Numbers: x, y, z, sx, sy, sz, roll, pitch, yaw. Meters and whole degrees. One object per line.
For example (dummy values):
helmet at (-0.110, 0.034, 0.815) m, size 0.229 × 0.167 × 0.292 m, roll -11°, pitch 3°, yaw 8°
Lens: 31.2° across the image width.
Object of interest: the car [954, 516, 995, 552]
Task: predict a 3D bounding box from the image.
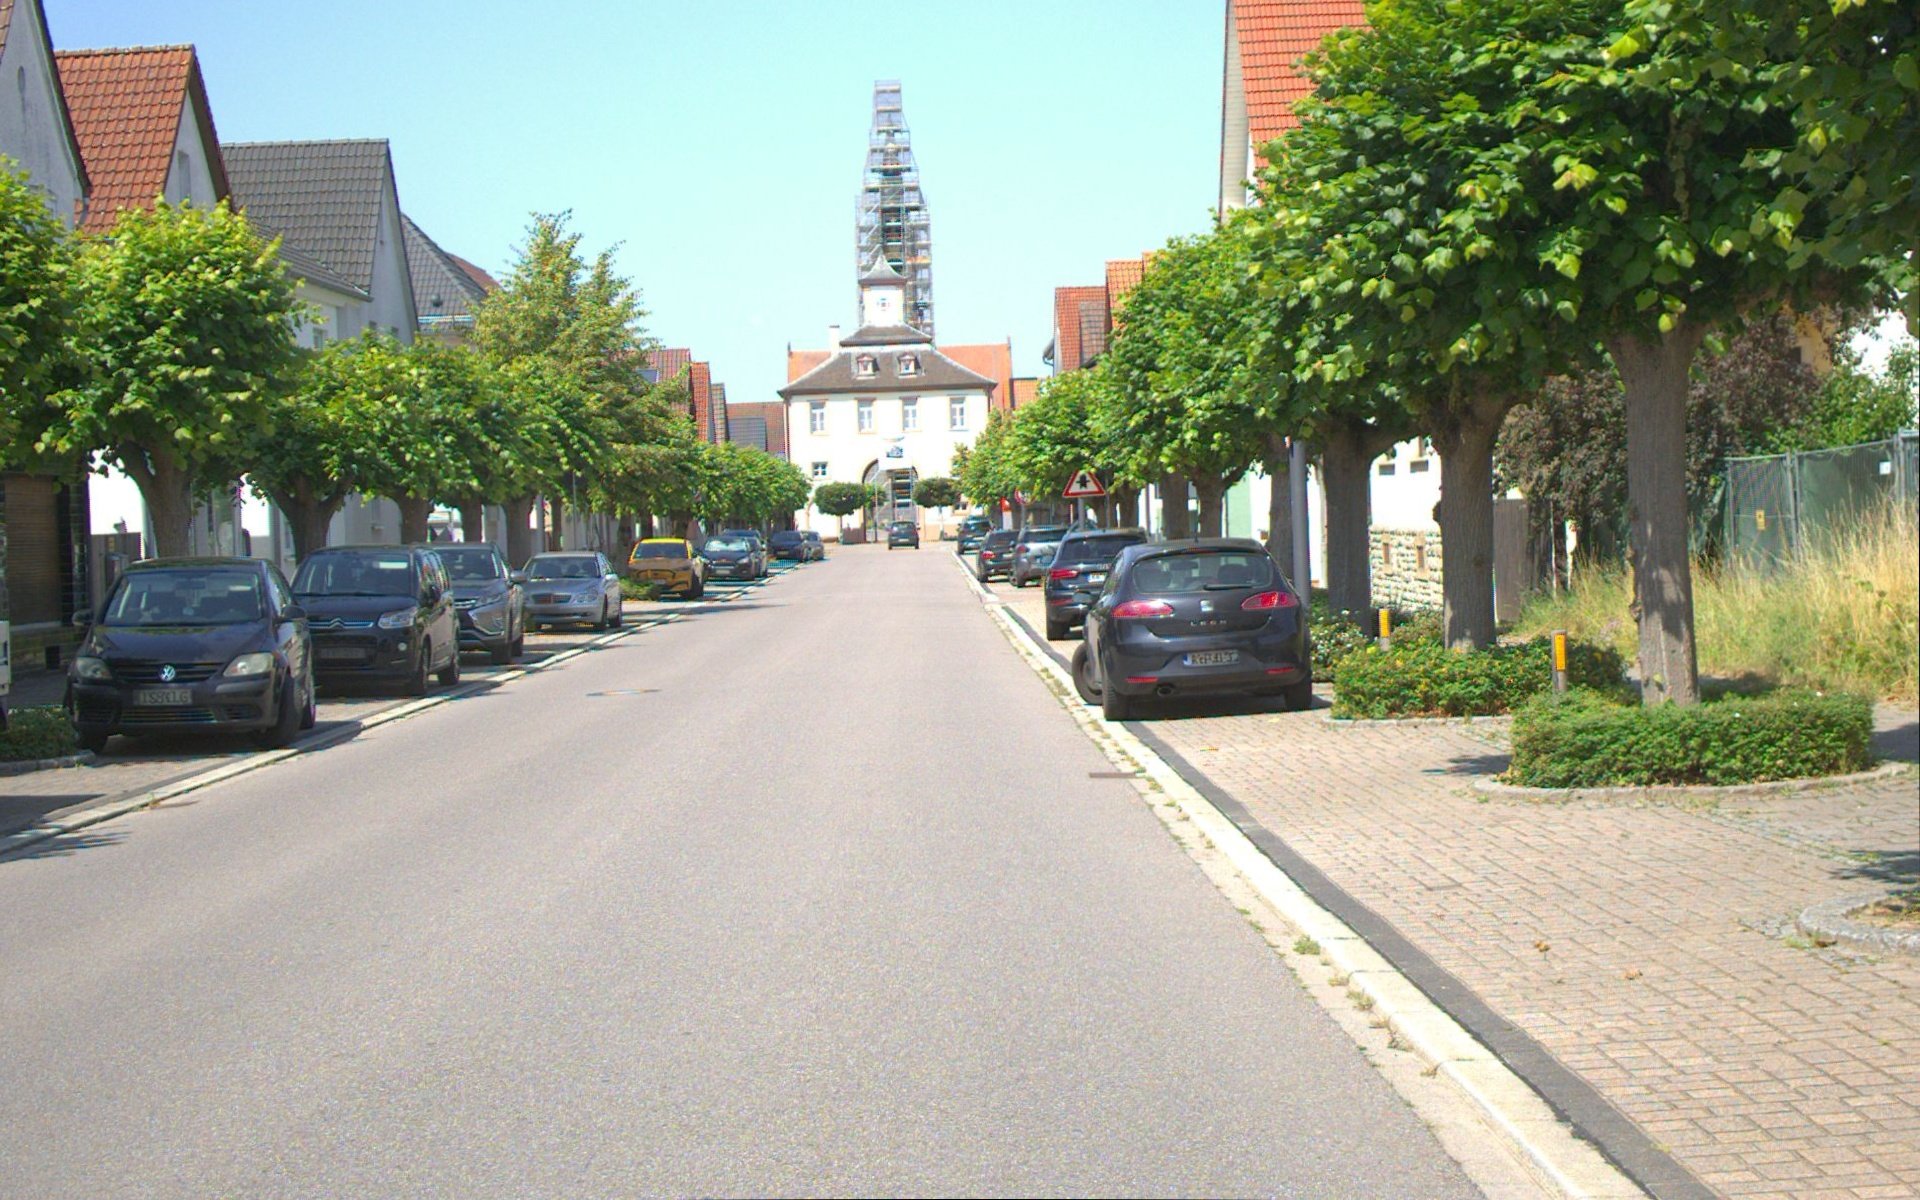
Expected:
car at (0.657, -3.124, 161.722) m, size 1.837 × 1.550 × 4.314 m, roll -3°, pitch 1°, yaw 0°

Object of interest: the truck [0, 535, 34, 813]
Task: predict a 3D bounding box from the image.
truck at (-6.854, 0.487, 20.505) m, size 1.576 × 1.759 × 4.192 m, roll 0°, pitch 1°, yaw -1°

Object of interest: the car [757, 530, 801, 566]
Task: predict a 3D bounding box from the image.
car at (-8.216, -2.382, 156.033) m, size 1.757 × 1.550 × 4.020 m, roll -2°, pitch 1°, yaw 0°

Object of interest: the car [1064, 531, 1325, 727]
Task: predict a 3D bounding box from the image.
car at (1.934, 0.190, 29.494) m, size 1.824 × 1.427 × 4.057 m, roll -4°, pitch 2°, yaw -1°

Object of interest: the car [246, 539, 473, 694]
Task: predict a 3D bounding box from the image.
car at (-6.598, 0.145, 38.154) m, size 1.853 × 1.629 × 4.057 m, roll 0°, pitch 1°, yaw -1°

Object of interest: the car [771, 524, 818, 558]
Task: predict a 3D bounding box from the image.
car at (-7.781, -2.762, 161.771) m, size 1.993 × 1.606 × 3.855 m, roll 0°, pitch 1°, yaw 0°

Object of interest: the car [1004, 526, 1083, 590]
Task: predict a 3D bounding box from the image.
car at (2.189, -1.136, 91.226) m, size 1.837 × 1.602 × 4.001 m, roll -2°, pitch 1°, yaw -2°

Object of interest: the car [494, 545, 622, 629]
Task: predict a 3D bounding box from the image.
car at (-7.164, -0.266, 61.594) m, size 1.840 × 1.391 × 4.407 m, roll -1°, pitch 1°, yaw -1°

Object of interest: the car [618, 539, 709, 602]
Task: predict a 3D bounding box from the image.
car at (-7.869, -0.801, 91.604) m, size 1.993 × 1.606 × 4.689 m, roll 0°, pitch 1°, yaw 0°

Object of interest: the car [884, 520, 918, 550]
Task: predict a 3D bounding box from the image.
car at (-3.096, -3.432, 181.176) m, size 1.729 × 1.542 × 3.456 m, roll 0°, pitch 1°, yaw -1°

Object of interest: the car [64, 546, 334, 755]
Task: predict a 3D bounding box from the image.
car at (-6.381, 0.362, 29.185) m, size 1.785 × 1.628 × 4.001 m, roll -1°, pitch 1°, yaw -6°

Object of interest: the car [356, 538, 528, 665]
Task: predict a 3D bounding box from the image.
car at (-7.069, -0.018, 47.284) m, size 1.993 × 1.647 × 4.368 m, roll 0°, pitch 1°, yaw -4°

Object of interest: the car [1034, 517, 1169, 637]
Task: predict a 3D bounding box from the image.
car at (2.119, -0.376, 50.782) m, size 1.824 × 1.580 × 4.057 m, roll -3°, pitch 2°, yaw 3°

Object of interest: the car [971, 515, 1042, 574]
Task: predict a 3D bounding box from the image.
car at (1.311, -1.607, 98.898) m, size 1.837 × 1.550 × 4.314 m, roll -3°, pitch 1°, yaw -1°

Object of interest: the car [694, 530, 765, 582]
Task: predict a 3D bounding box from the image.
car at (-7.555, -1.463, 112.991) m, size 1.993 × 1.606 × 4.689 m, roll 0°, pitch 2°, yaw 0°
